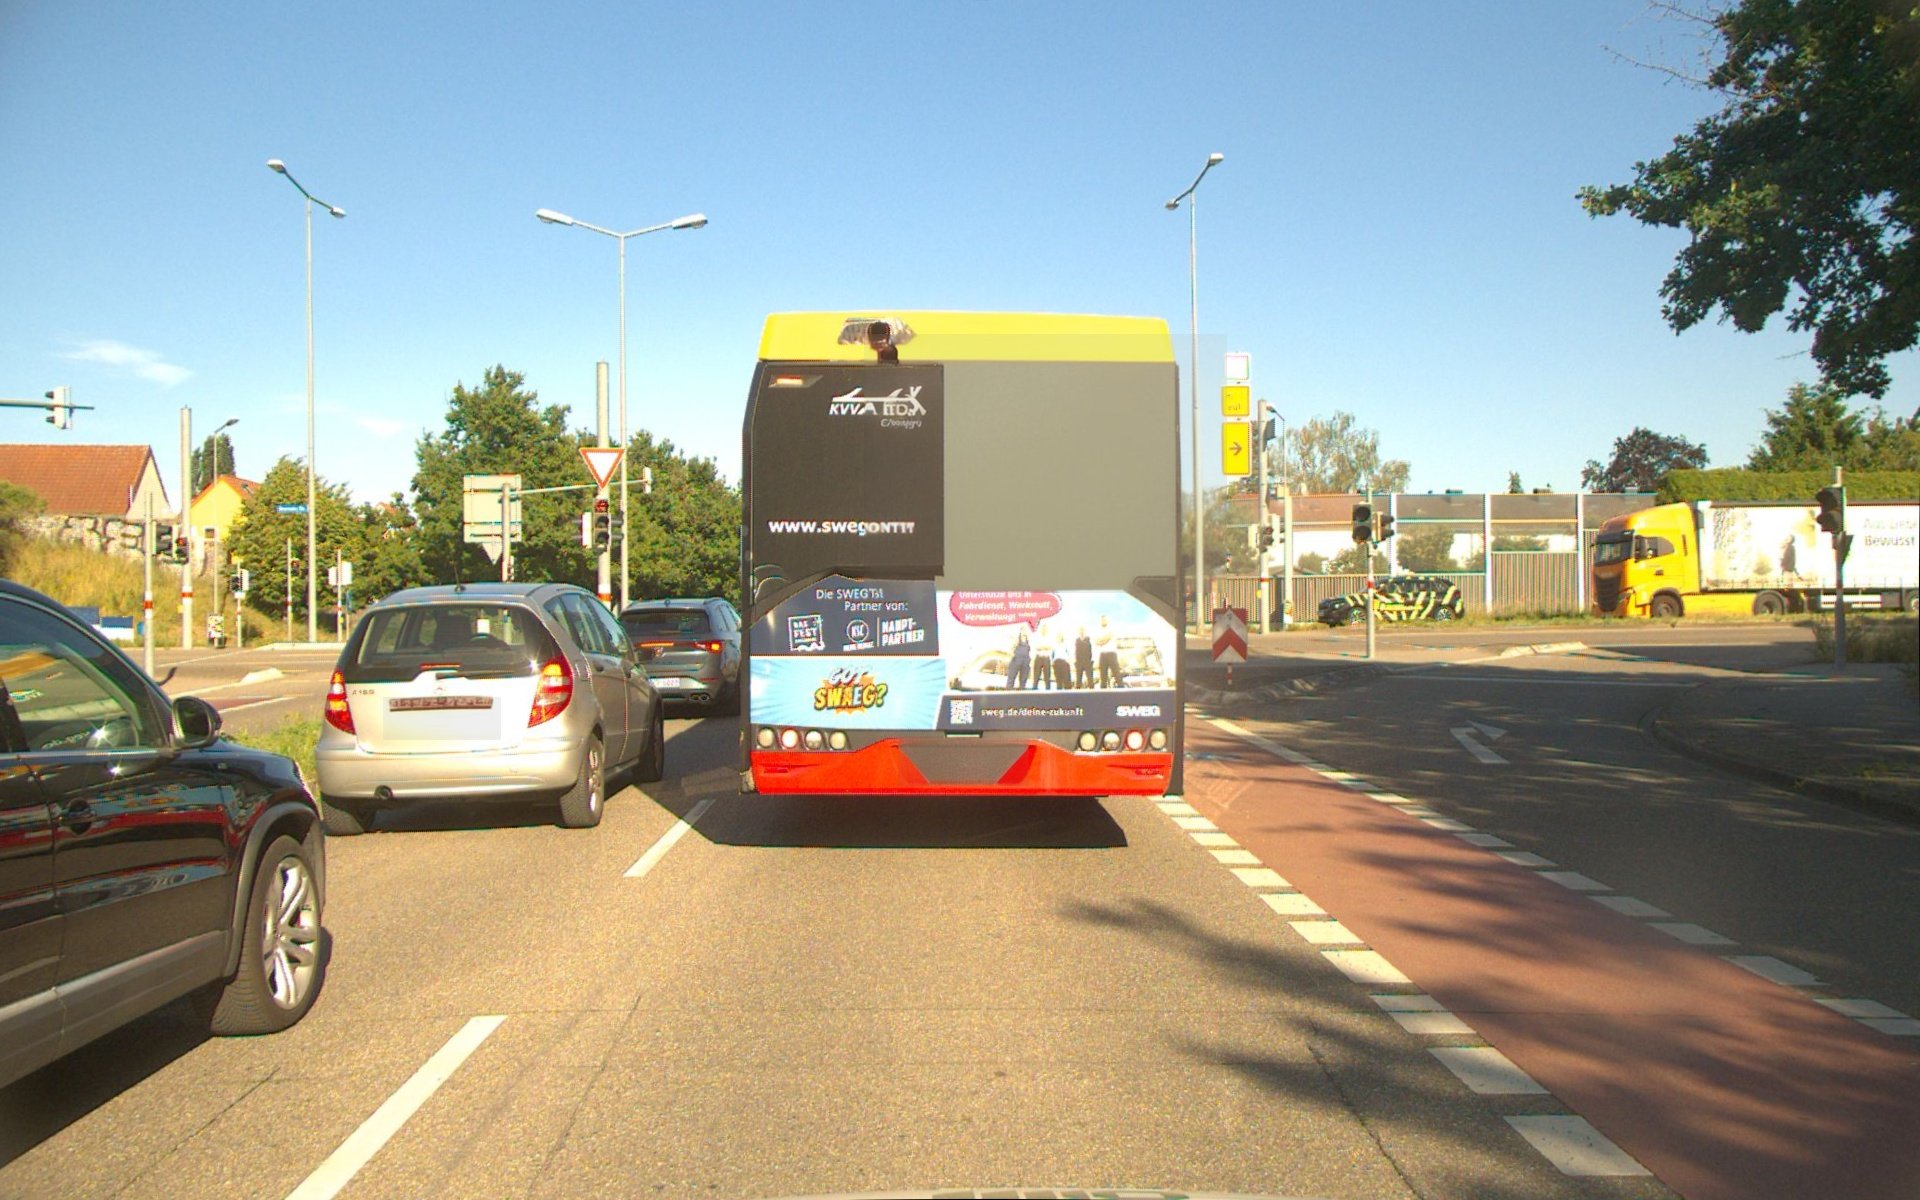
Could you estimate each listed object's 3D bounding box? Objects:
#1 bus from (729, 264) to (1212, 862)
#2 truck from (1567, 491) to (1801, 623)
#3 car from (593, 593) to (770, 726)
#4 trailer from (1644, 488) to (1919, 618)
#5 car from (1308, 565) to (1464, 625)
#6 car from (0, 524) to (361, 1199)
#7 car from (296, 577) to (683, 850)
[{"bbox_3d":[0.023,-0.250,14.896,2.589,3.222,11.860,0,0,0],"label":"bus"},{"bbox_3d":[24.724,-1.439,56.684,6.354,4.082,3.435,-3,0,-8],"label":"truck"},{"bbox_3d":[-3.448,0.679,21.061,1.658,1.484,3.750,-2,0,-1],"label":"car"},{"bbox_3d":[31.528,-1.729,57.604,14.381,4.083,3.435,-2,0,-8],"label":"trailer"},{"bbox_3d":[12.341,-0.150,47.997,3.990,1.552,1.766,-2,0,-7],"label":"car"},{"bbox_3d":[-3.141,0.690,4.306,1.736,1.682,3.999,-2,0,-1],"label":"car"},{"bbox_3d":[-3.214,0.685,12.133,1.725,1.617,3.999,-2,0,-1],"label":"car"}]
